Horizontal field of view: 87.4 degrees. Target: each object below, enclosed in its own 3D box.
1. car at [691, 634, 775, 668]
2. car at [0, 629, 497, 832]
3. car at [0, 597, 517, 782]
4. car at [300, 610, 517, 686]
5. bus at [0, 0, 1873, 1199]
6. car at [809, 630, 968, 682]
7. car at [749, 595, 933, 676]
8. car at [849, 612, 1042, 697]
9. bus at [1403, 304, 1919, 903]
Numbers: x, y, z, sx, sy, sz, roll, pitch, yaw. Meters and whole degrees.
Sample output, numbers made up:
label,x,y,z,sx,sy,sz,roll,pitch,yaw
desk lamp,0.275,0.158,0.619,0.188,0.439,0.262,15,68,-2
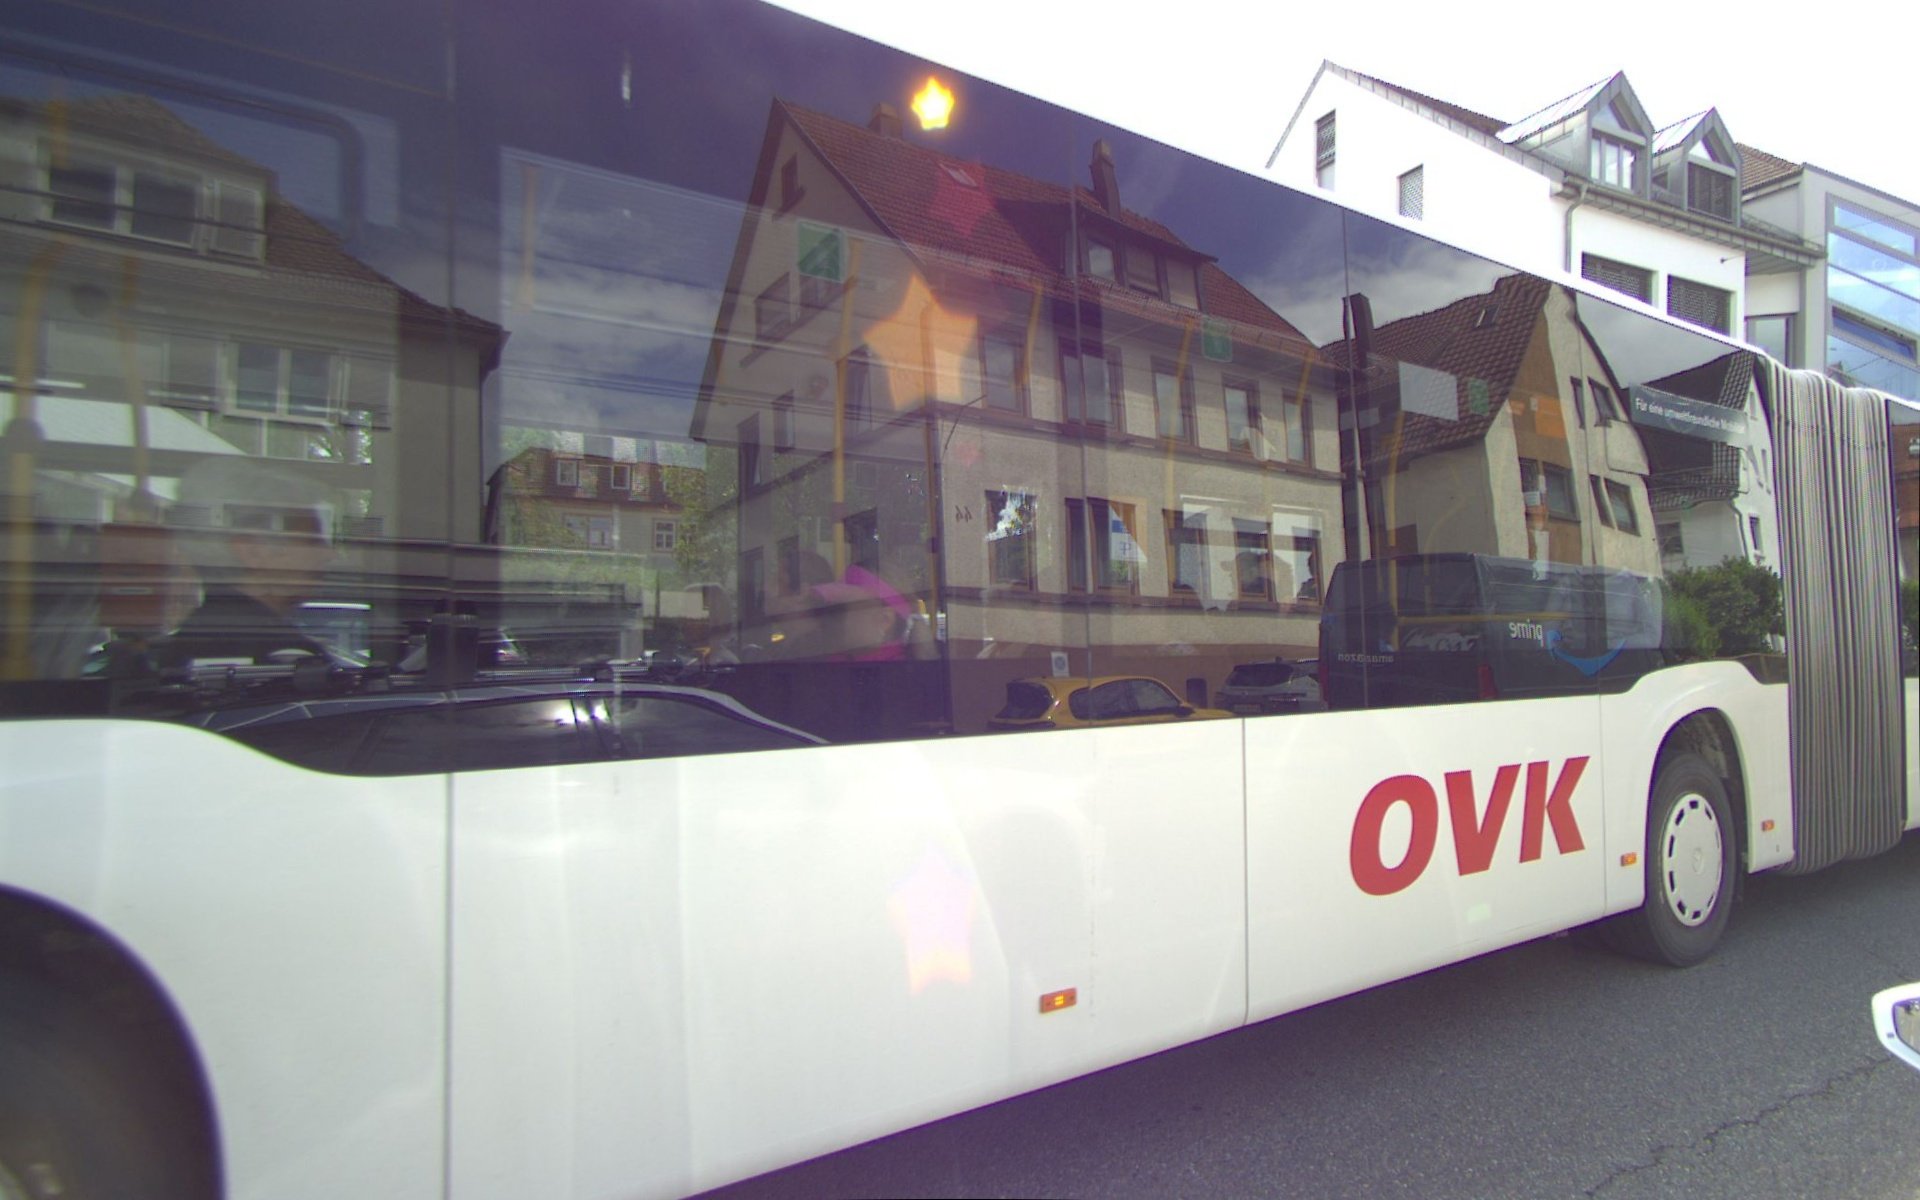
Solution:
label,x,y,z,sx,sy,sz,roll,pitch,yaw
car,-8.805,1.960,38.978,2.993,1.200,1.413,1,1,-23
car,-6.372,0.931,8.059,4.790,1.376,1.945,1,-2,-25
car,-7.336,0.872,10.513,4.858,1.640,1.948,0,-4,-23
car,-15.023,1.296,27.747,5.016,1.967,1.964,1,-1,-23
bus,0.000,-0.146,3.846,10.074,3.205,2.667,1,-2,-33
car,-2.139,1.668,30.133,4.445,1.457,1.807,1,-3,-24
car,-4.004,1.241,34.087,5.899,2.563,2.055,1,-3,-26
car,-0.359,1.344,25.559,4.586,2.015,1.832,1,-1,-26
bus,7.486,0.123,8.628,7.977,3.205,2.702,1,-2,-31
